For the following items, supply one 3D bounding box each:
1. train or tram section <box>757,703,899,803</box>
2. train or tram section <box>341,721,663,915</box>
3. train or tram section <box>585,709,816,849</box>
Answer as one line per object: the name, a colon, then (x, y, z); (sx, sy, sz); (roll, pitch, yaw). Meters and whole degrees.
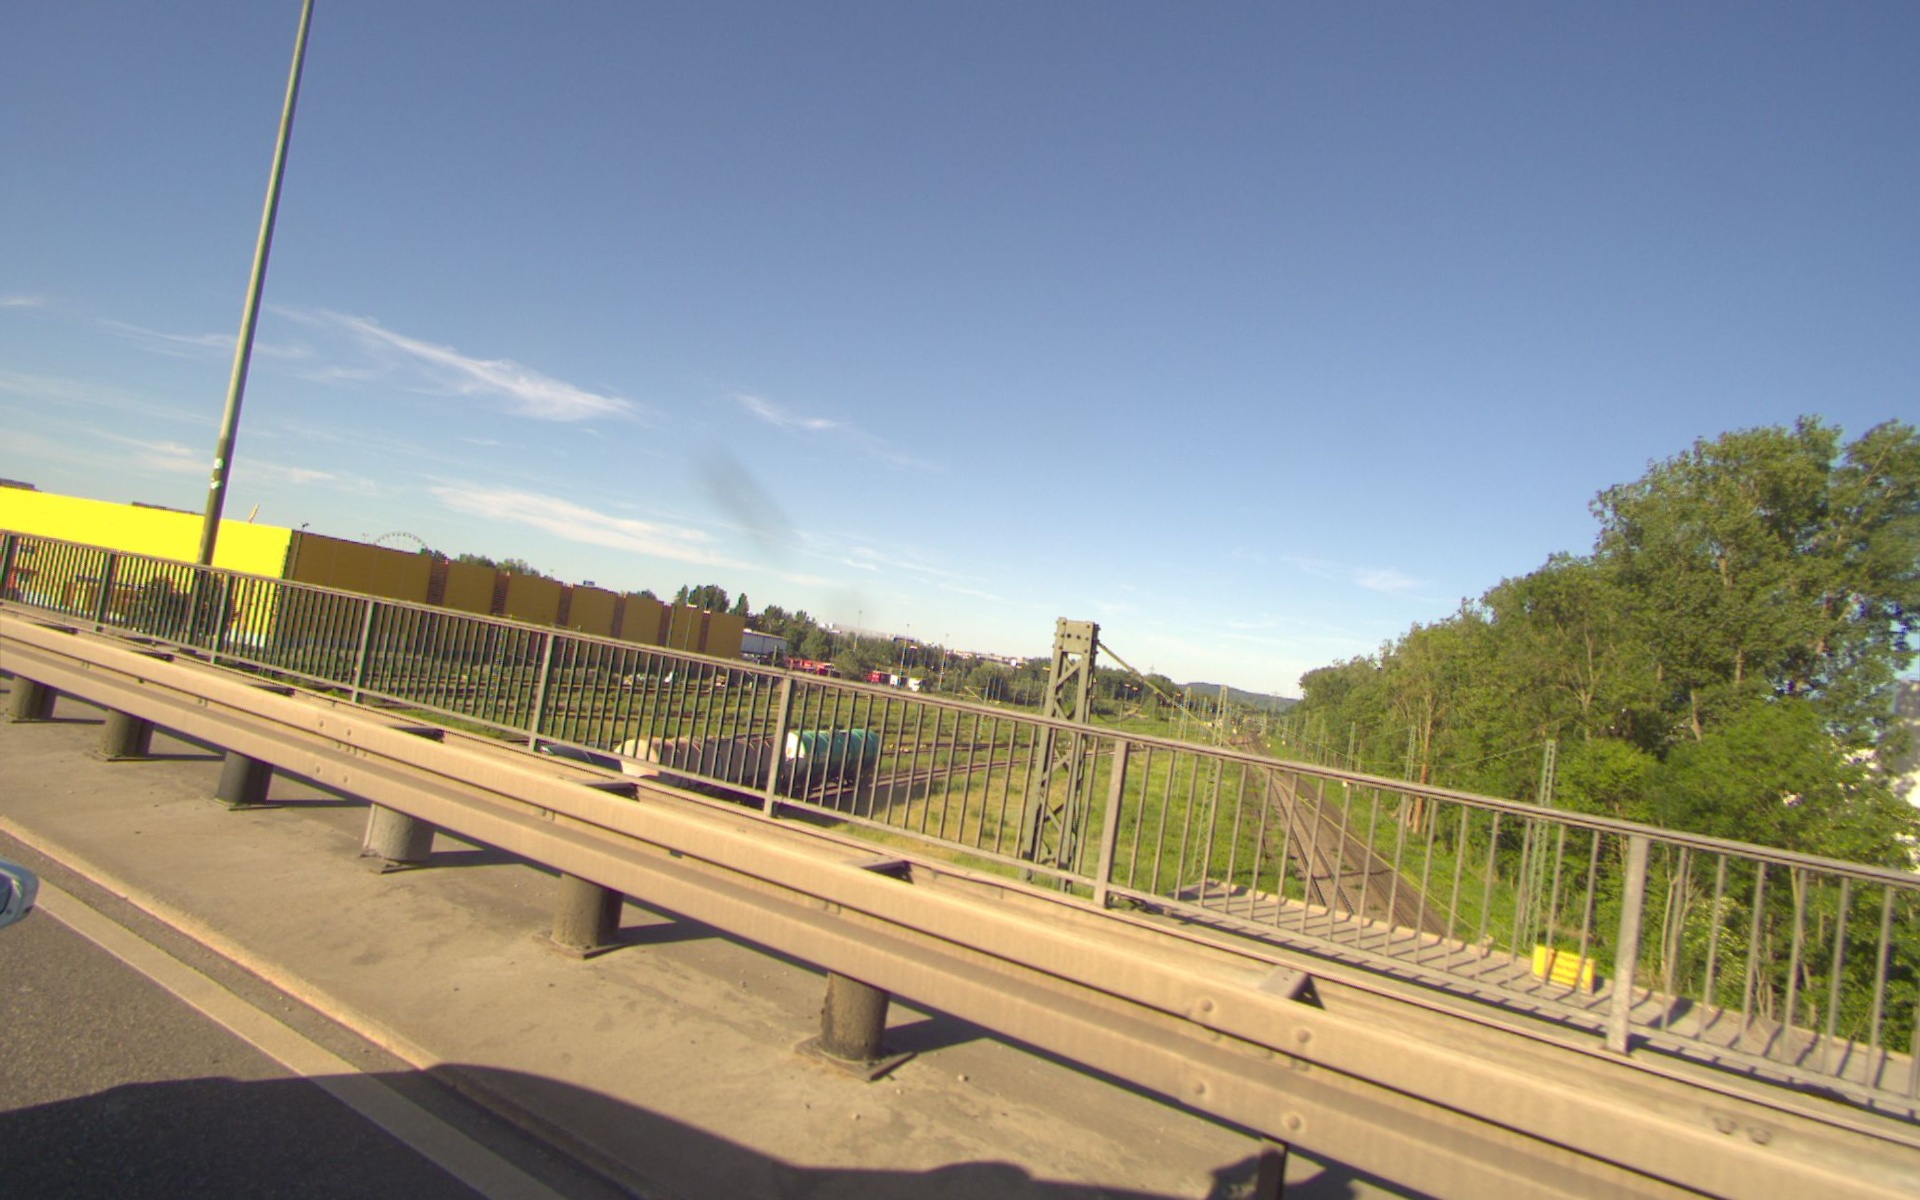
train or tram section: (-8.679, 10.229, 69.755); (3.274, 5.242, 15.196); (8, -2, 17)
train or tram section: (-17.270, 8.009, 39.977); (3.274, 5.325, 13.099); (8, -2, 17)
train or tram section: (-13.158, 9.076, 54.372); (3.274, 5.321, 16.900); (8, -2, 17)
